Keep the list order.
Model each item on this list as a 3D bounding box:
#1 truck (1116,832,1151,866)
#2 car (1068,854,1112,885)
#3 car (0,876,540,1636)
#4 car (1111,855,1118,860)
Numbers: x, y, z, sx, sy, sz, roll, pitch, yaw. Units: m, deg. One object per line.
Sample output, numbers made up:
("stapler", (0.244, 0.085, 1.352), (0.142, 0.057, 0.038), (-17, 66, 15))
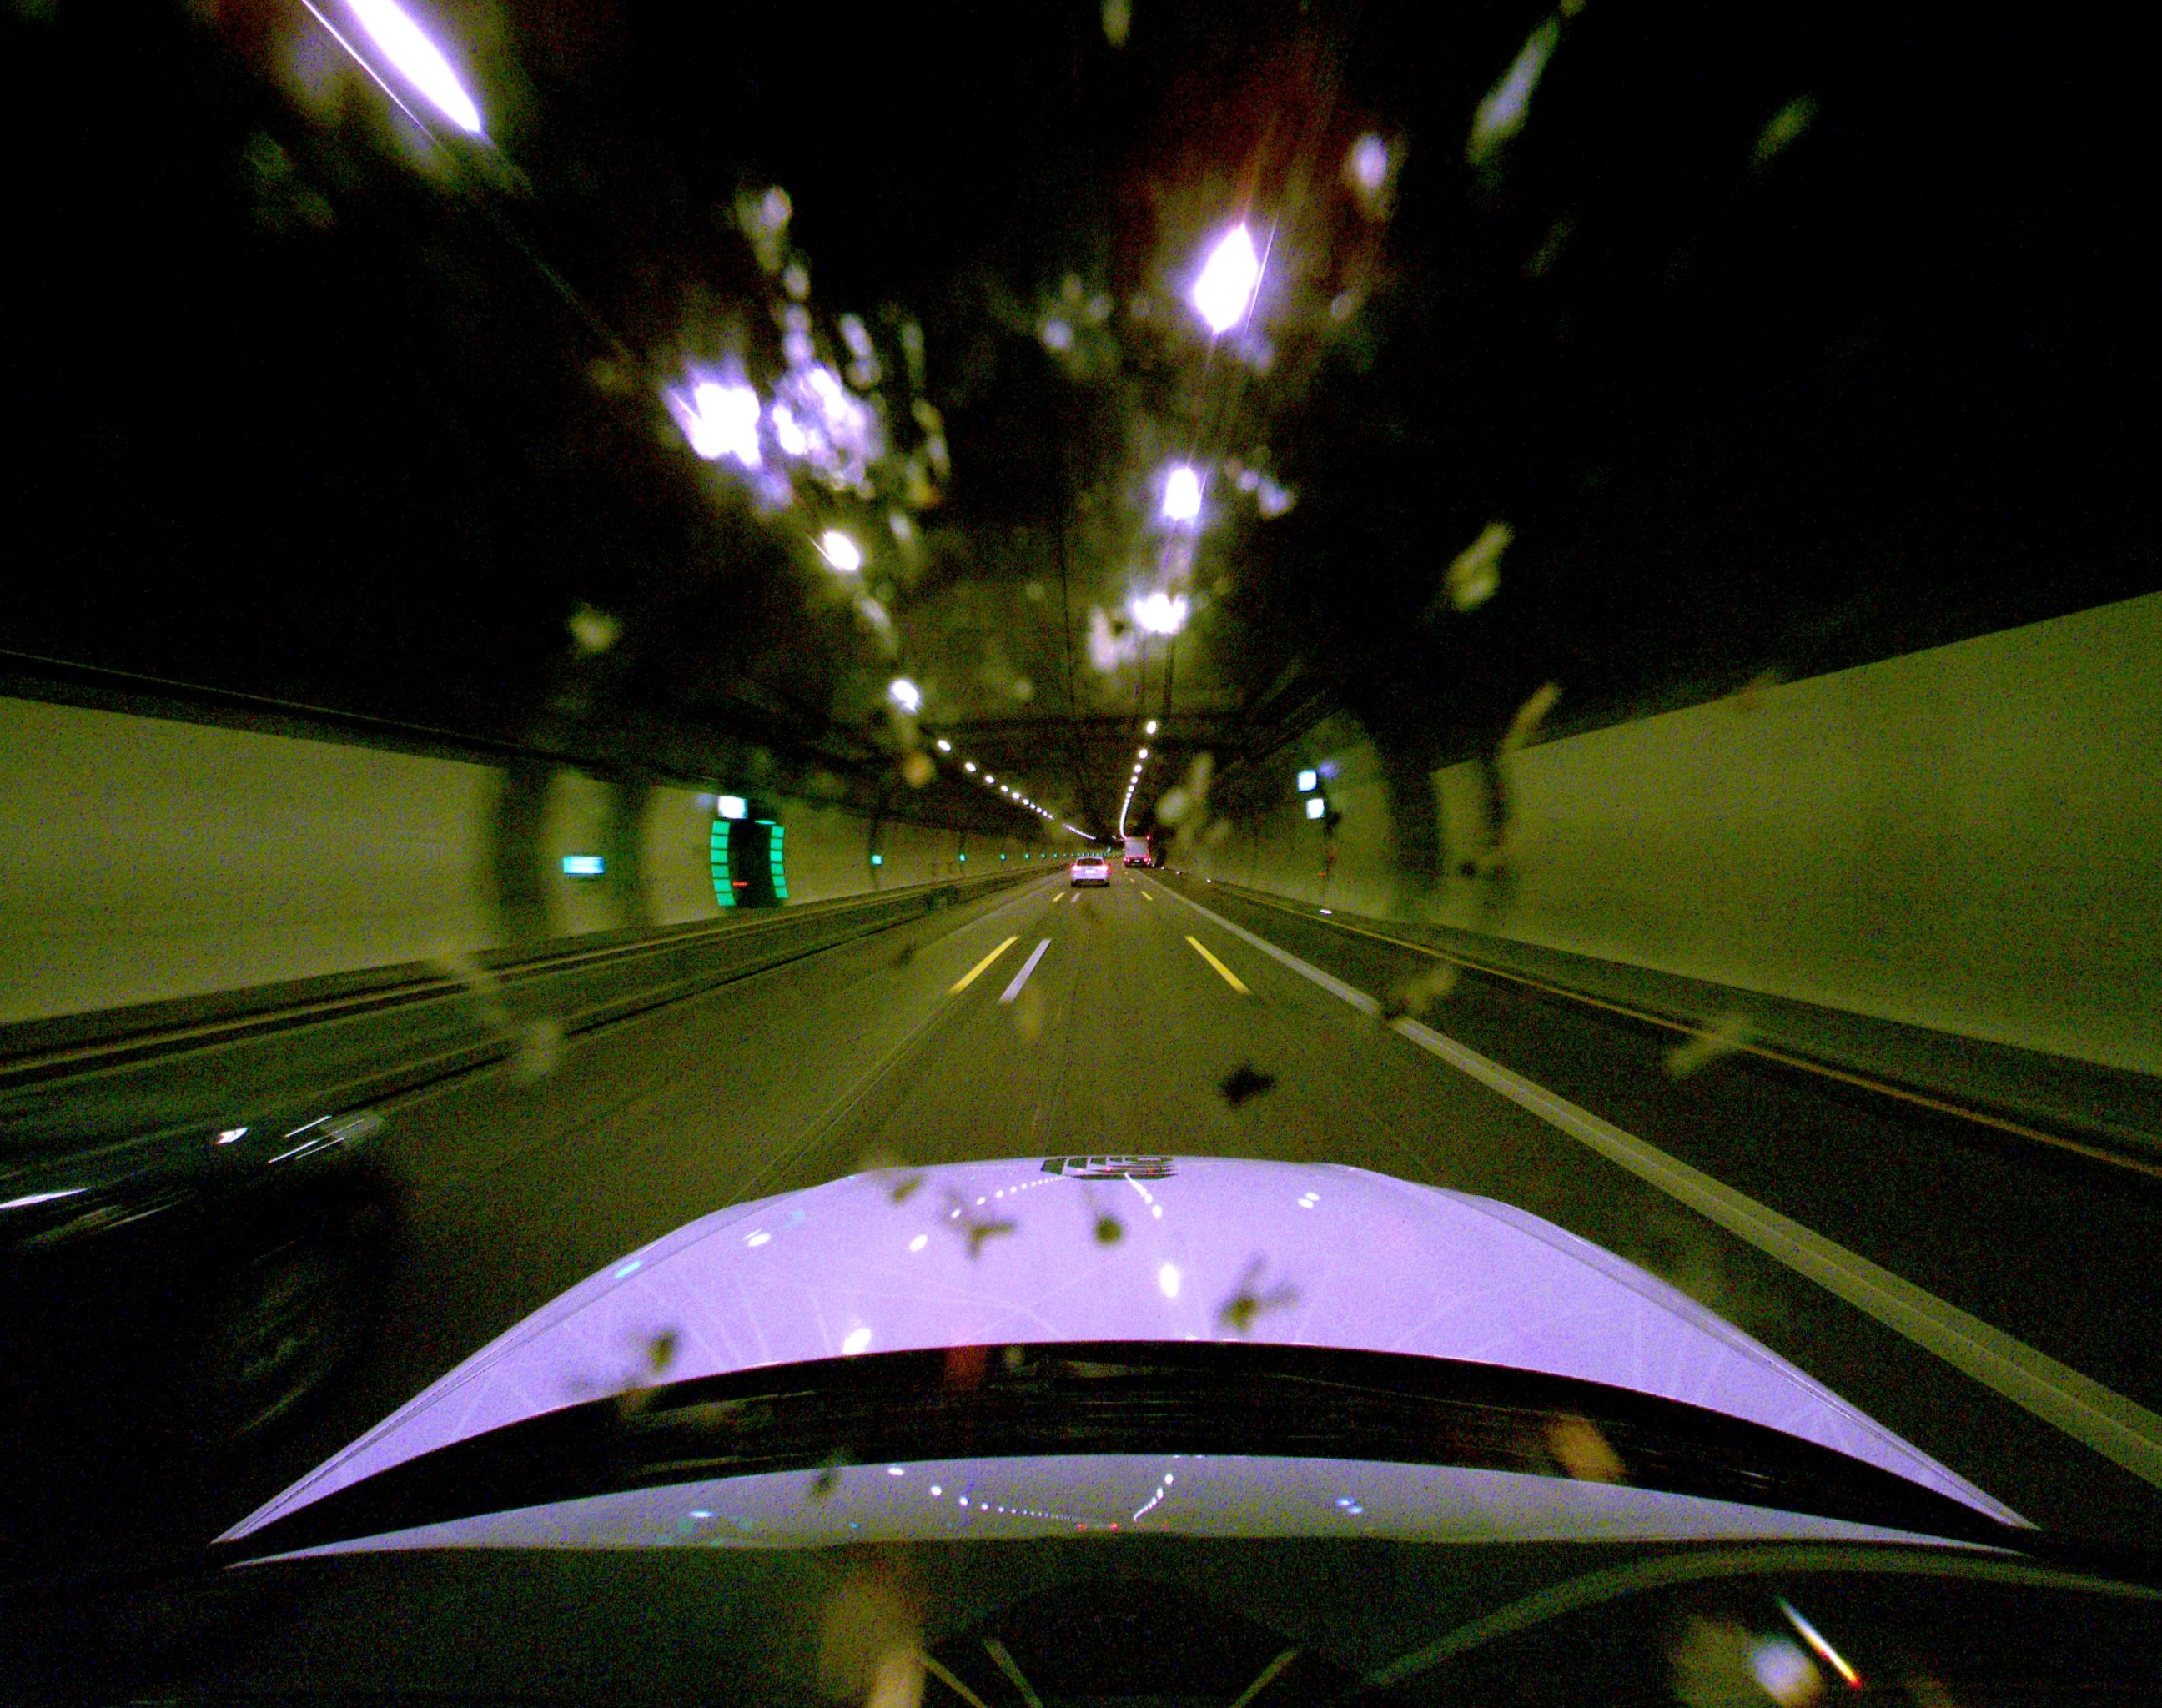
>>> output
("truck", (5.921, -0.527, 94.268), (3.580, 3.650, 10.724), (0, 0, 1))
("car", (0.457, 0.723, 39.817), (1.986, 1.413, 4.743), (0, 0, 1))
("car", (-2.928, 0.795, 1.107), (1.683, 1.417, 3.924), (0, 0, 1))
("car", (10.817, 1.080, 261.887), (1.984, 1.519, 4.006), (0, -1, 6))
